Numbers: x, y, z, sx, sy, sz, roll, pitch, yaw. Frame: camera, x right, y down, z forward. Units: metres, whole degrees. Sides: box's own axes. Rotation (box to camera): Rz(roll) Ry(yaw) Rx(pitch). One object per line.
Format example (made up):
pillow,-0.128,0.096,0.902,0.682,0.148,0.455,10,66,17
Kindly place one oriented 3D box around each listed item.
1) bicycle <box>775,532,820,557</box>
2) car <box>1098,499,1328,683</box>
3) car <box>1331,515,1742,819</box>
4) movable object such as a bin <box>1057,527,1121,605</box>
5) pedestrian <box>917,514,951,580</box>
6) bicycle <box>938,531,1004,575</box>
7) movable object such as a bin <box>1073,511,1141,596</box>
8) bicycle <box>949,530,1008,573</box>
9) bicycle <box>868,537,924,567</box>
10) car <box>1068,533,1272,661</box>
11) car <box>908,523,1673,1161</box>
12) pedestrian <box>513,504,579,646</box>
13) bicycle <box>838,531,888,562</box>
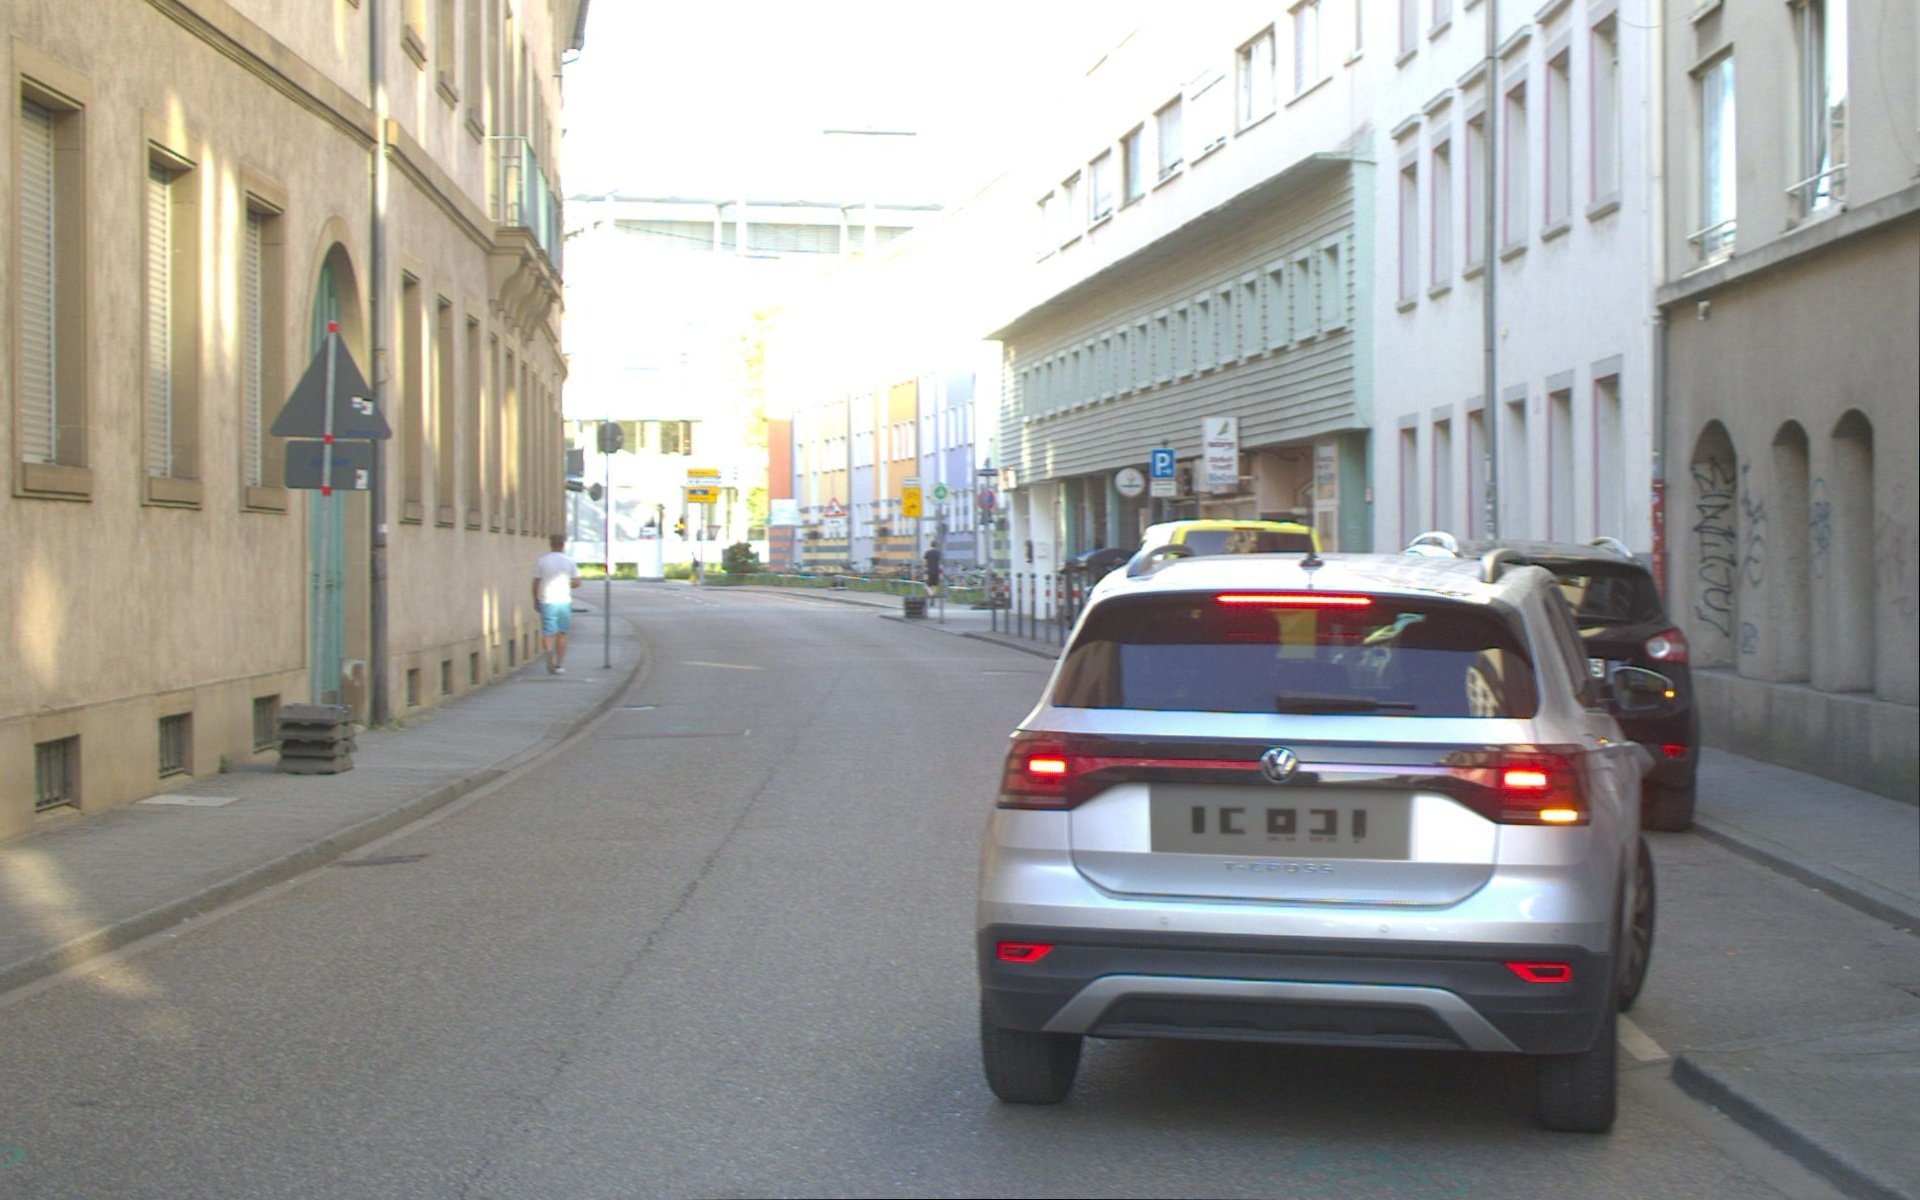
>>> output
bicycle,-6.727,-2.299,142.409,1.753,1.000,0.613,-2,1,-13
car,2.709,-0.153,37.886,1.883,1.875,4.846,1,1,-3
car,3.411,0.316,21.147,1.825,1.649,4.493,1,1,1
movable object such as a bin,2.382,-0.623,63.811,0.981,1.380,1.321,-2,-1,-6
pedestrian,-0.713,-1.442,93.305,0.696,1.754,1.189,-3,1,-8
bicycle,0.316,-1.347,97.981,1.748,1.137,0.552,-3,2,-8
movable object such as a bin,2.655,-0.835,62.196,0.981,1.475,1.551,-2,-1,-6
bicycle,0.526,-1.399,99.434,1.640,1.137,0.283,-4,2,-16
bicycle,-2.092,-1.562,111.716,1.748,0.943,0.552,-1,1,-8
car,2.571,-0.075,43.163,1.883,1.484,4.369,1,1,-5
car,1.215,0.556,10.654,1.826,1.553,3.984,1,1,13
pedestrian,-4.982,-0.303,41.387,0.692,1.664,0.875,2,1,-4
bicycle,-3.623,-2.006,128.464,1.810,1.133,0.552,-1,1,-9
